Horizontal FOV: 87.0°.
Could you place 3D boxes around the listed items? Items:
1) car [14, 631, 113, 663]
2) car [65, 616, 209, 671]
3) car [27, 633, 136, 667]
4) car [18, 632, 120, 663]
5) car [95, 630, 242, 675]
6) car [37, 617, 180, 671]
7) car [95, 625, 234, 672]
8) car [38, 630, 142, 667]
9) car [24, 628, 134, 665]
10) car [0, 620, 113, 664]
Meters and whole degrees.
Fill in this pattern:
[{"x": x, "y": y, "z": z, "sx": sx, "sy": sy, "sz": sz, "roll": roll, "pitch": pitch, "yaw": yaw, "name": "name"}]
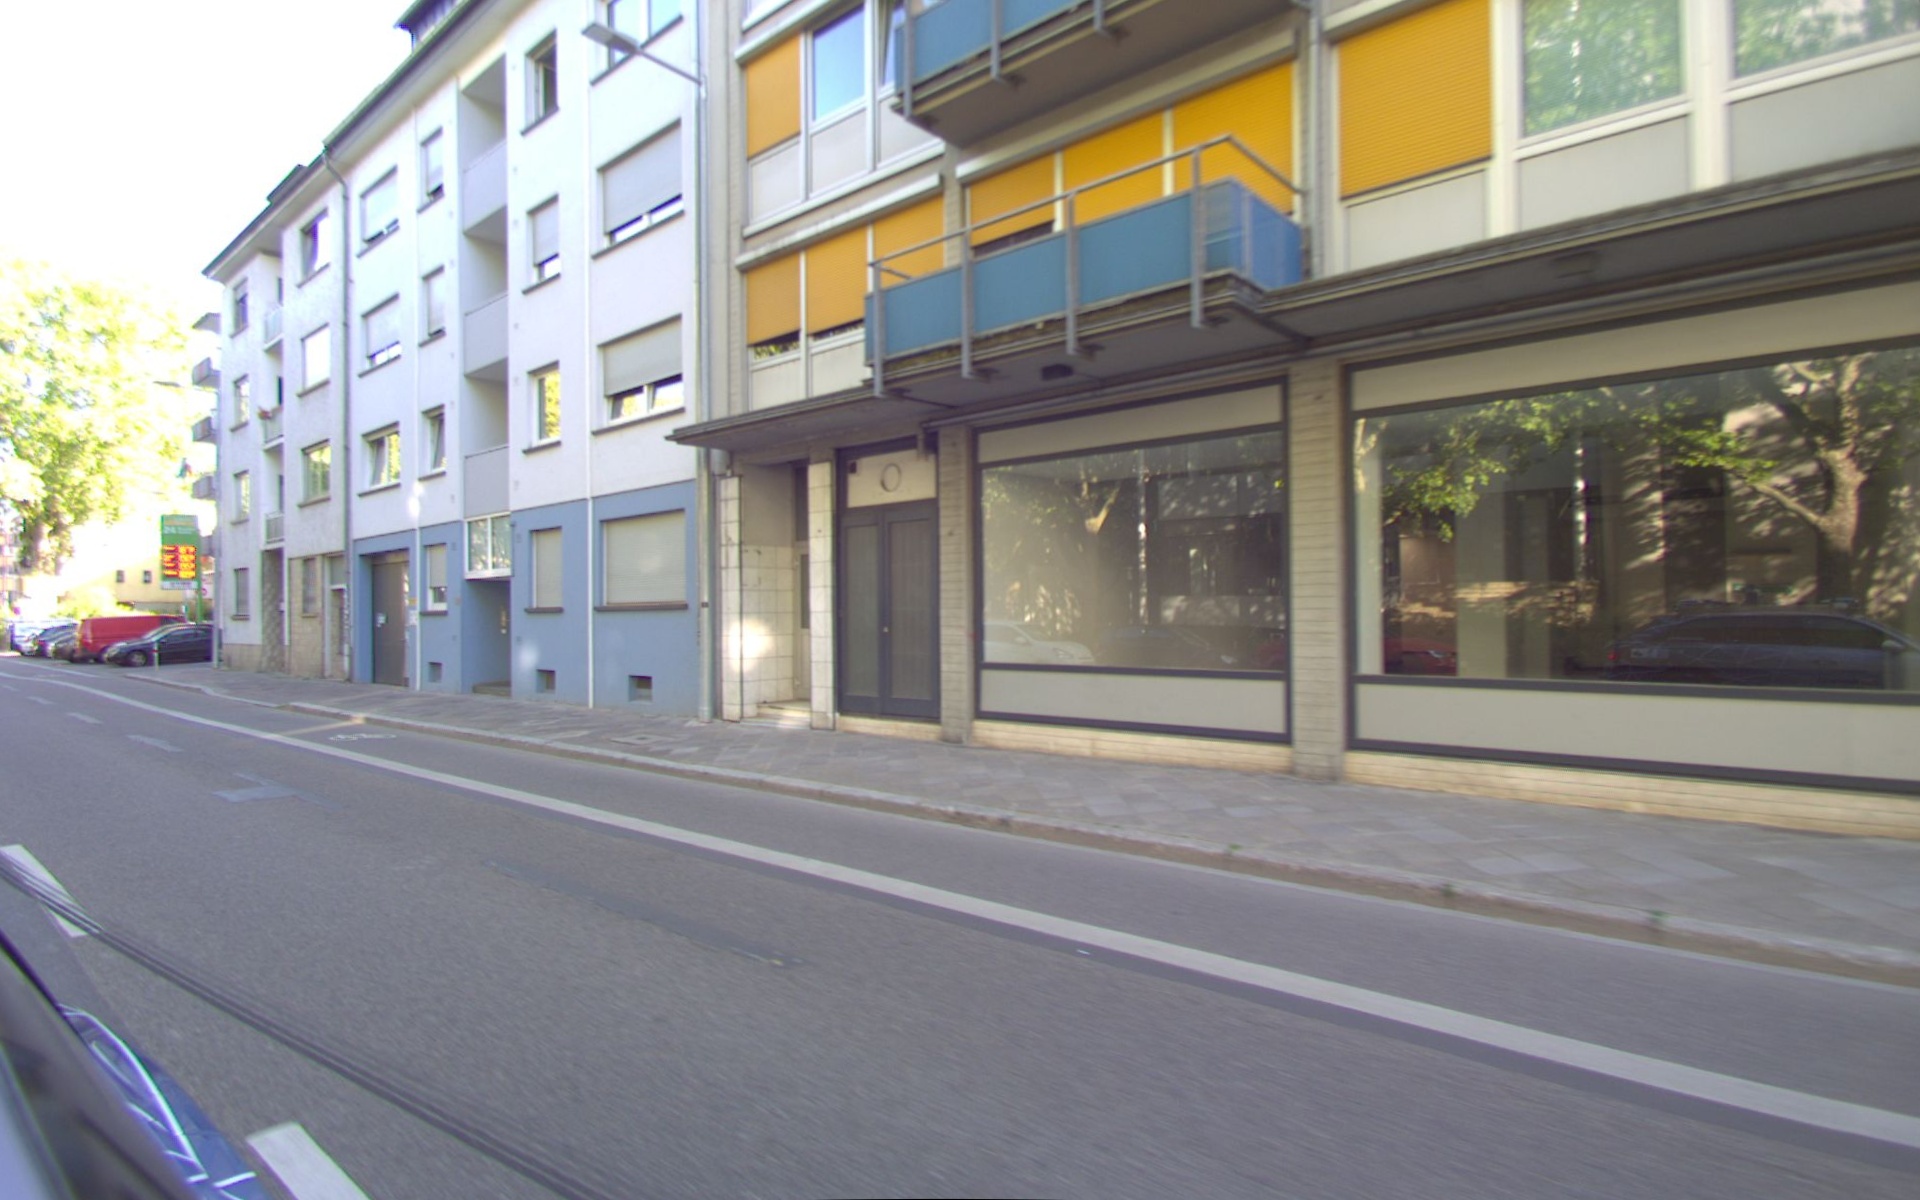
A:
[{"x": -50.065, "y": 2.616, "z": 56.567, "sx": 1.852, "sy": 1.571, "sz": 3.945, "roll": -3, "pitch": -1, "yaw": 41, "name": "car"}, {"x": -34.721, "y": 1.800, "z": 42.766, "sx": 2.145, "sy": 1.966, "sz": 4.375, "roll": -2, "pitch": 1, "yaw": 42, "name": "car"}, {"x": -44.382, "y": 2.501, "z": 51.202, "sx": 1.915, "sy": 1.466, "sz": 3.945, "roll": -2, "pitch": 0, "yaw": 41, "name": "car"}, {"x": -48.504, "y": 2.579, "z": 55.124, "sx": 1.852, "sy": 1.444, "sz": 3.945, "roll": -2, "pitch": 0, "yaw": 41, "name": "car"}, {"x": -30.696, "y": 1.989, "z": 39.332, "sx": 2.045, "sy": 1.390, "sz": 4.184, "roll": -1, "pitch": 1, "yaw": 42, "name": "car"}, {"x": -37.081, "y": 1.879, "z": 44.140, "sx": 2.056, "sy": 1.966, "sz": 4.475, "roll": -2, "pitch": 1, "yaw": 42, "name": "car"}, {"x": -32.227, "y": 1.913, "z": 41.065, "sx": 1.886, "sy": 1.575, "sz": 4.129, "roll": -2, "pitch": 1, "yaw": 42, "name": "car"}, {"x": -42.858, "y": 2.372, "z": 49.897, "sx": 1.830, "sy": 1.524, "sz": 3.647, "roll": -2, "pitch": 1, "yaw": 41, "name": "car"}, {"x": -46.555, "y": 2.418, "z": 53.513, "sx": 2.027, "sy": 1.696, "sz": 4.150, "roll": -2, "pitch": 0, "yaw": 41, "name": "car"}, {"x": -53.364, "y": 2.433, "z": 59.786, "sx": 2.139, "sy": 2.233, "sz": 4.794, "roll": -2, "pitch": 0, "yaw": 41, "name": "car"}]
